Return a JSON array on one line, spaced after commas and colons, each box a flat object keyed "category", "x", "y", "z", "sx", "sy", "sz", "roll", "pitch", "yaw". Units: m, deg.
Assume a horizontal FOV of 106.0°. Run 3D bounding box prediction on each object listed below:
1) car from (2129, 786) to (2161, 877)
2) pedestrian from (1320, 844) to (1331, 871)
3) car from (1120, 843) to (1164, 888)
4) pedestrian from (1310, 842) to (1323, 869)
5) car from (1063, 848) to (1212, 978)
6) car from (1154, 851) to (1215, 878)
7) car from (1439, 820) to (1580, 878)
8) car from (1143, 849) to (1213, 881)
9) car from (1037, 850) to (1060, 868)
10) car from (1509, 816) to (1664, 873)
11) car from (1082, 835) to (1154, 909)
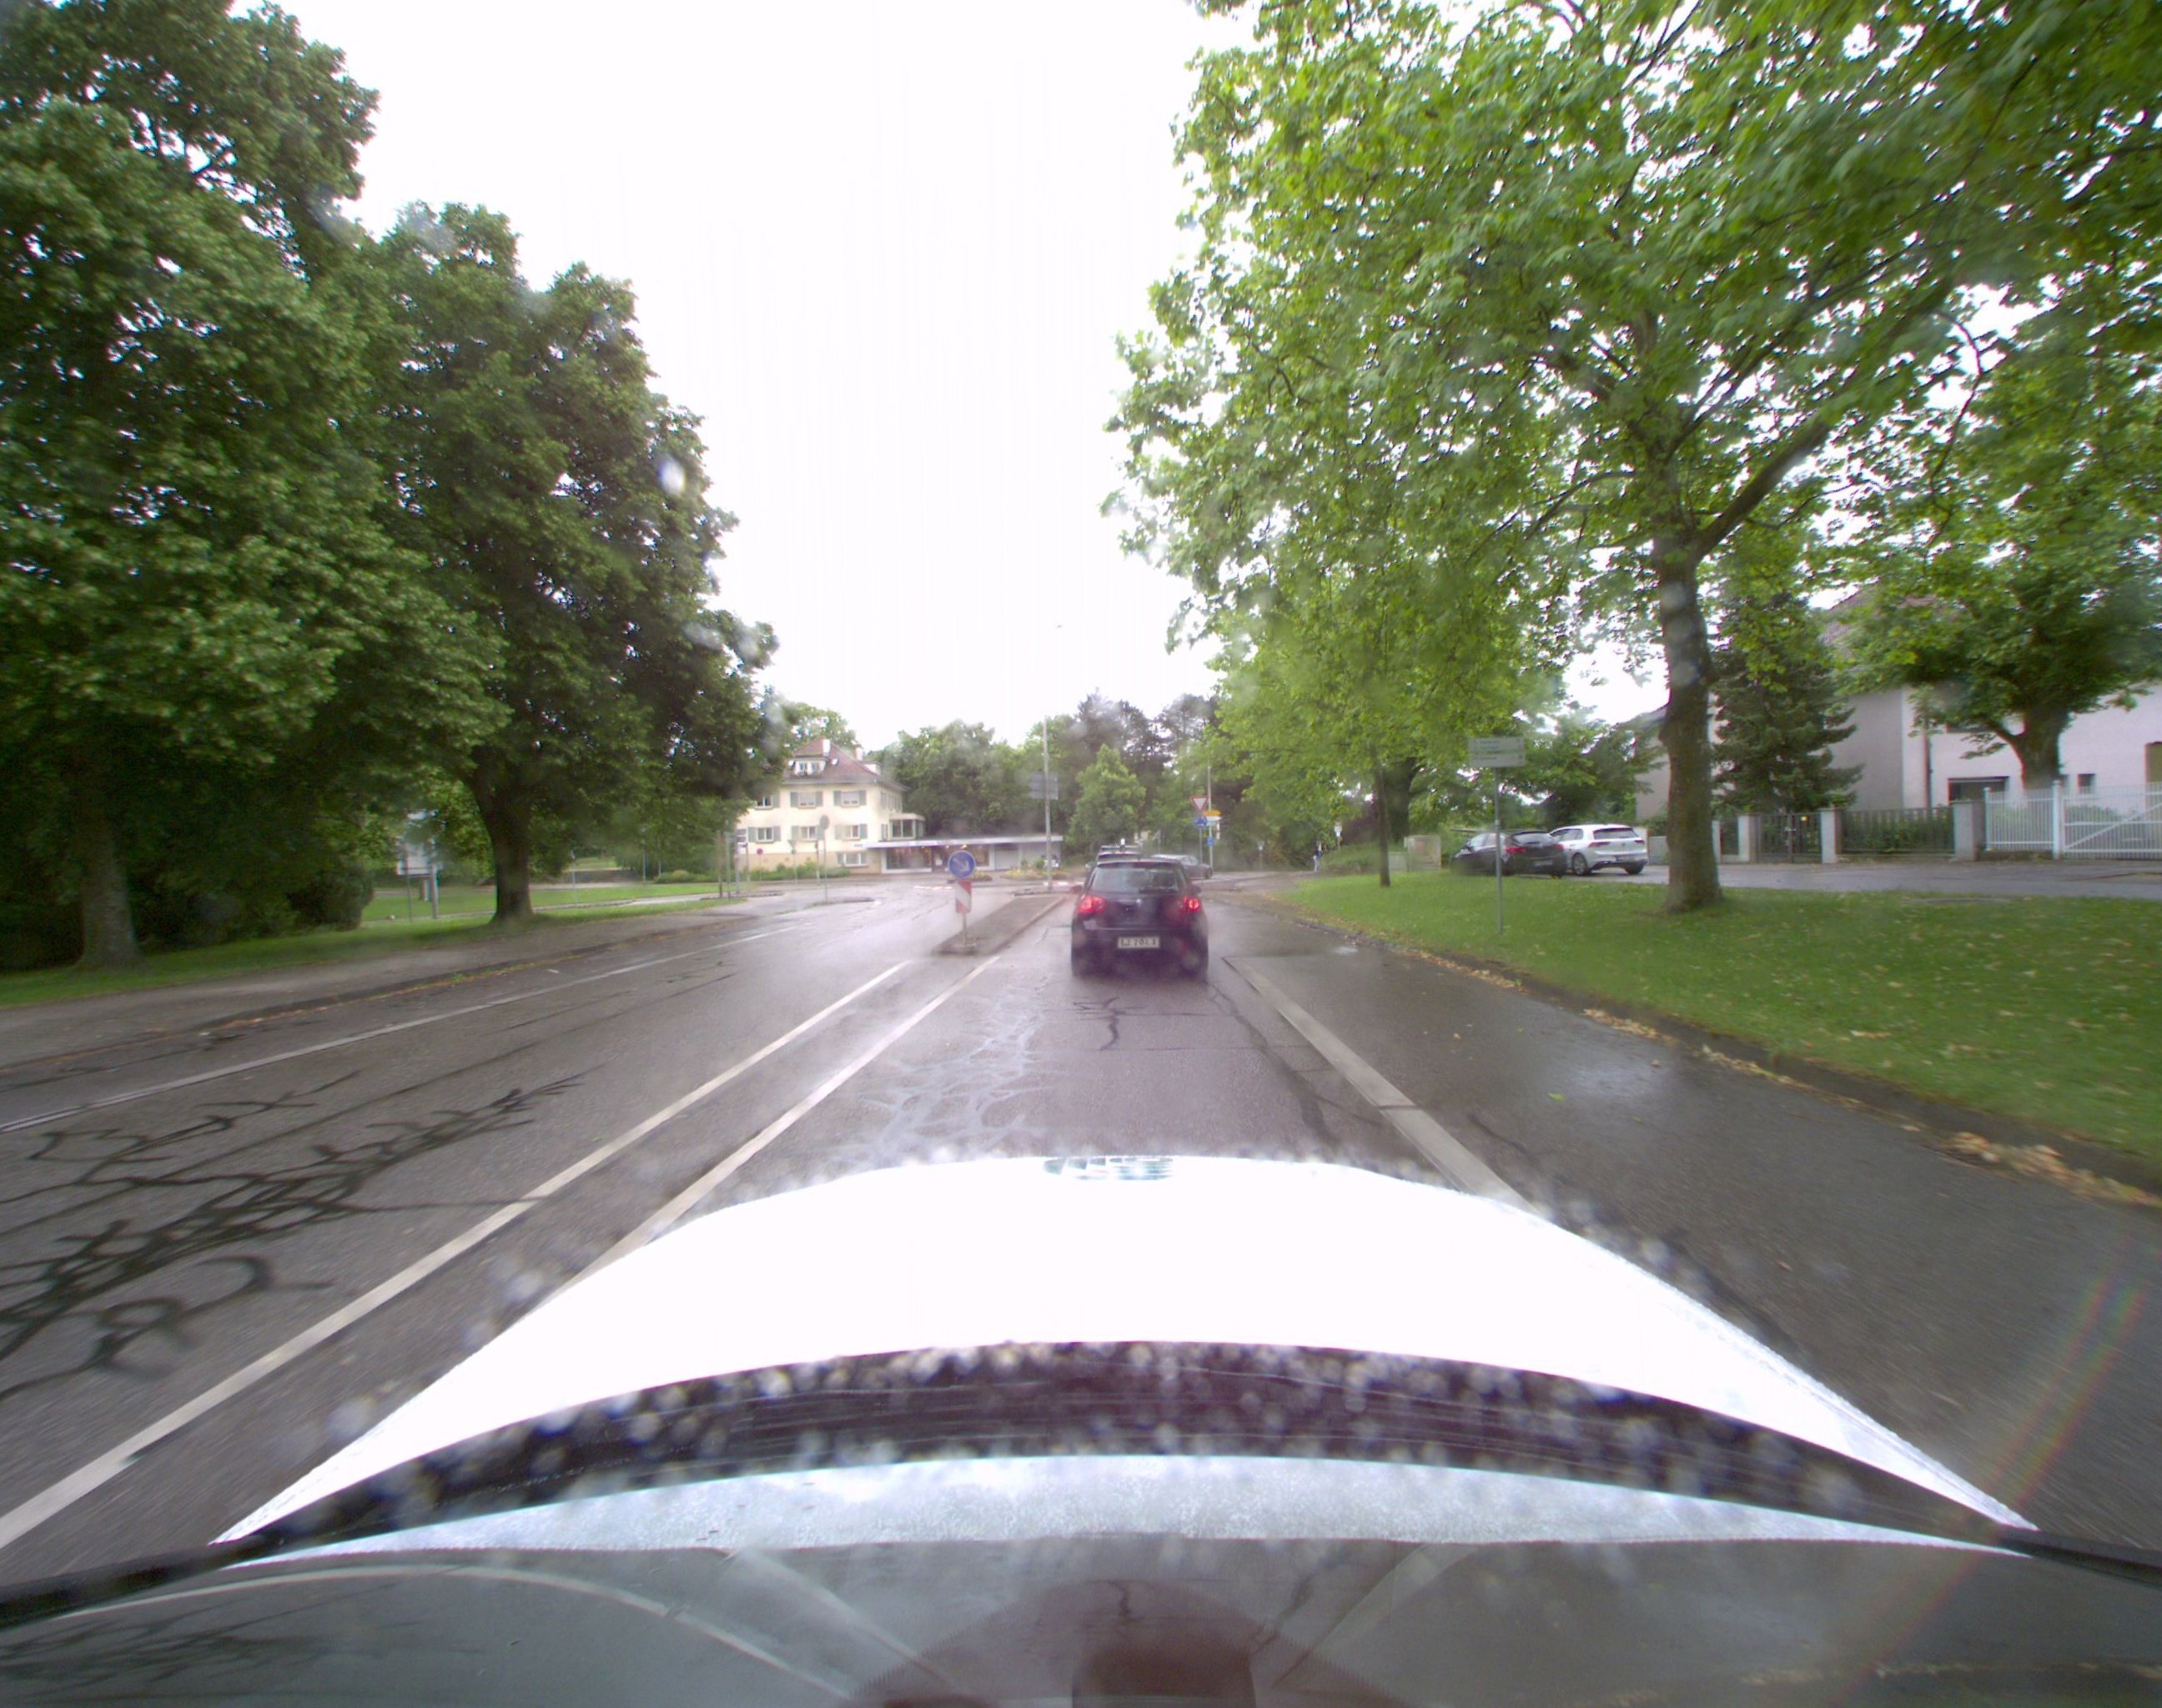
[{"category": "car", "x": 18.485, "y": -0.389, "z": 11.469, "sx": 1.756, "sy": 1.471, "sz": 4.352, "roll": -1, "pitch": -1, "yaw": -3}, {"category": "pedestrian", "x": 15.283, "y": 0.225, "z": 50.925, "sx": 0.629, "sy": 1.713, "sz": 0.532, "roll": -1, "pitch": -1, "yaw": 18}, {"category": "car", "x": 2.768, "y": 0.509, "z": 36.809, "sx": 1.757, "sy": 1.801, "sz": 4.251, "roll": -3, "pitch": -1, "yaw": 4}, {"category": "pedestrian", "x": 14.588, "y": 0.098, "z": 50.459, "sx": 0.528, "sy": 1.713, "sz": 0.633, "roll": 0, "pitch": -1, "yaw": -13}, {"category": "car", "x": 0.852, "y": 0.685, "z": 11.679, "sx": 1.756, "sy": 1.538, "sz": 4.006, "roll": 0, "pitch": 0, "yaw": 5}, {"category": "car", "x": 6.913, "y": 0.708, "z": 54.641, "sx": 2.006, "sy": 1.741, "sz": 4.104, "roll": 0, "pitch": -1, "yaw": -29}, {"category": "car", "x": 12.645, "y": -0.105, "z": 24.404, "sx": 1.758, "sy": 1.471, "sz": 4.597, "roll": -4, "pitch": -1, "yaw": 0}, {"category": "car", "x": 5.477, "y": 0.620, "z": 45.479, "sx": 1.974, "sy": 1.684, "sz": 4.058, "roll": -1, "pitch": -1, "yaw": 40}, {"category": "car", "x": -2.967, "y": 0.409, "z": 73.014, "sx": 1.810, "sy": 1.486, "sz": 3.824, "roll": -3, "pitch": 0, "yaw": -5}, {"category": "car", "x": 15.096, "y": -0.243, "z": 24.649, "sx": 1.840, "sy": 1.471, "sz": 4.424, "roll": -3, "pitch": -1, "yaw": -1}, {"category": "car", "x": 0.977, "y": 0.485, "z": 23.131, "sx": 1.759, "sy": 1.801, "sz": 4.246, "roll": -3, "pitch": -1, "yaw": 0}]
